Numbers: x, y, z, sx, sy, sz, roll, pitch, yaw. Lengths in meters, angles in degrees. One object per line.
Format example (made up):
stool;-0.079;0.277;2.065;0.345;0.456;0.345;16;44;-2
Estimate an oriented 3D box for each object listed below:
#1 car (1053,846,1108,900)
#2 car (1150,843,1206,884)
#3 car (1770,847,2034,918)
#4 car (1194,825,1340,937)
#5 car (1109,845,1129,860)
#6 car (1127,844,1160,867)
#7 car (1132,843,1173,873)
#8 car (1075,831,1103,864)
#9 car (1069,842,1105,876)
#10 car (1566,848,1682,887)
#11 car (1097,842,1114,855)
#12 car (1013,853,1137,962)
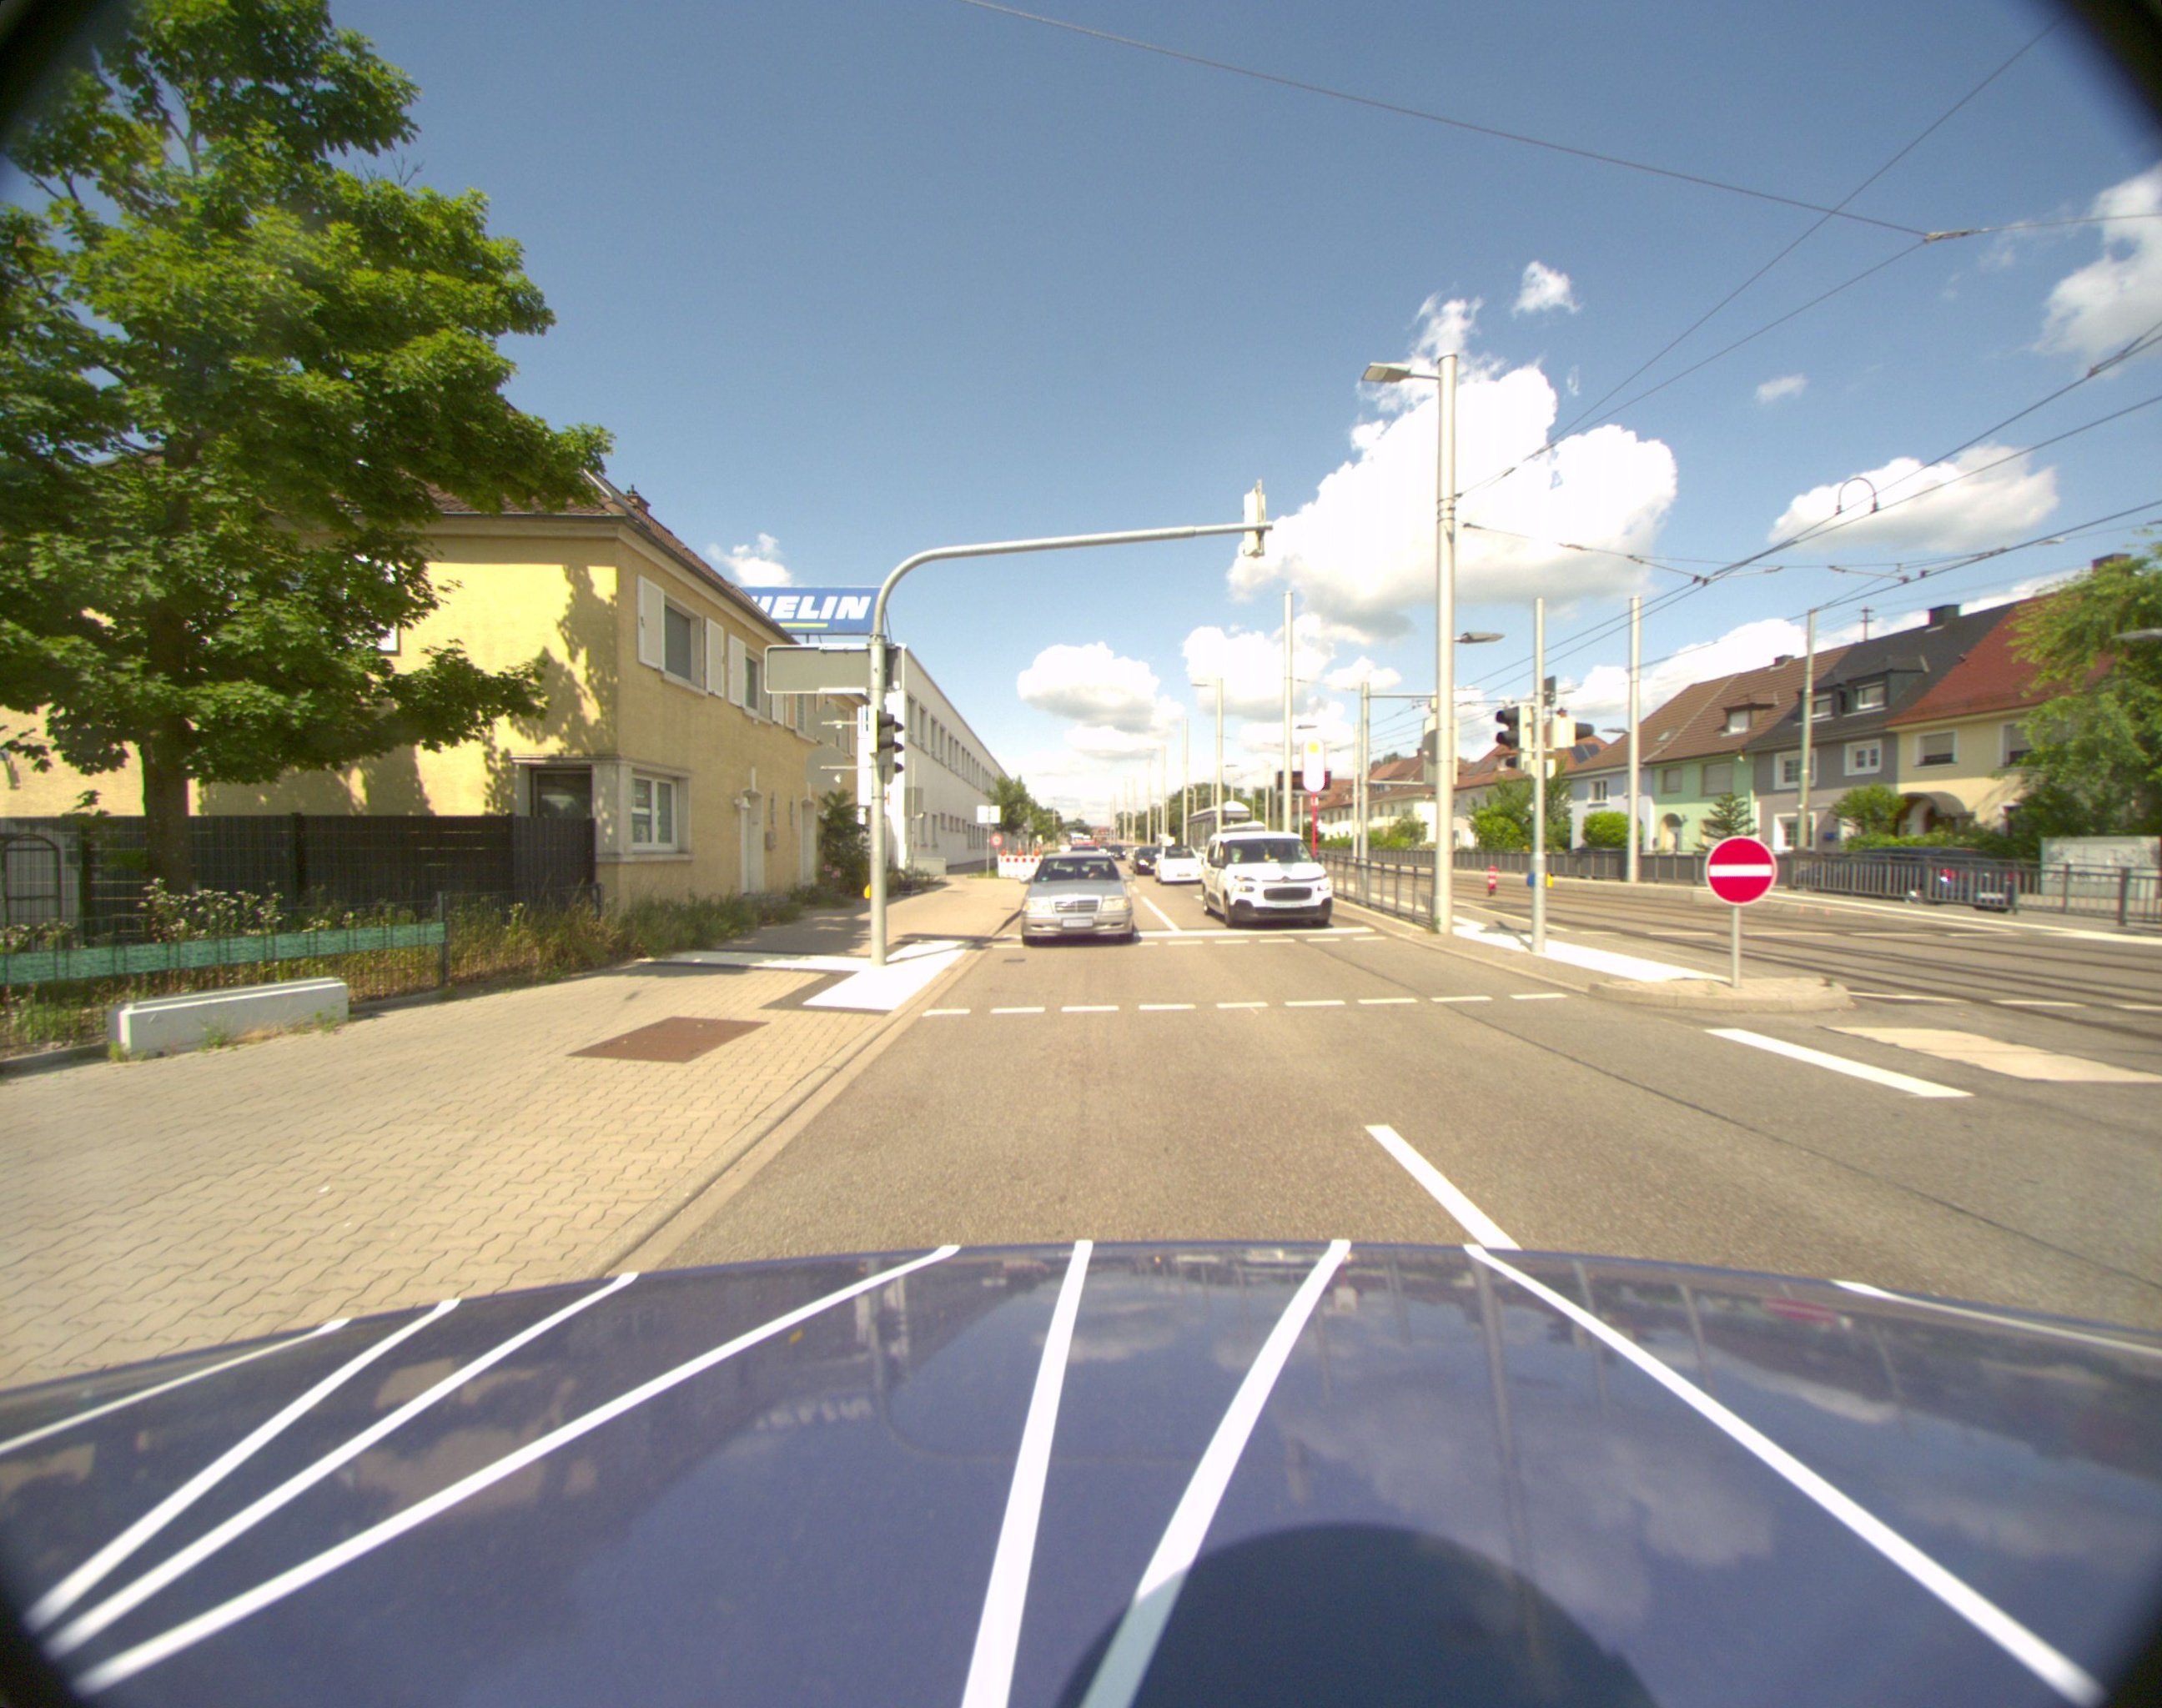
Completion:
car;-0.022;0.557;25.646;1.664;1.564;3.998;-2;2;-1
car;3.886;0.328;30.846;1.680;1.495;3.392;-2;1;-2
car;18.759;0.564;17.699;1.688;1.344;4.177;-2;2;1
car;3.423;0.395;14.830;1.799;1.805;4.328;-2;2;1
car;3.794;-0.207;75.958;1.698;1.350;4.497;-2;2;-1
car;4.037;0.058;49.623;1.698;1.350;4.497;-2;2;-1
car;3.709;0.179;40.134;1.680;1.414;3.557;-2;2;-2
car;0.516;-0.503;53.552;1.787;2.135;5.167;-2;2;-1
car;0.263;0.228;38.392;1.664;1.530;3.998;-2;2;-1
car;22.124;0.495;31.199;1.688;1.344;4.344;-2;2;0
car;2.877;-0.643;89.494;1.698;1.350;4.497;-2;2;-1
car;-0.107;0.765;13.099;1.725;1.390;4.461;-2;2;-1
